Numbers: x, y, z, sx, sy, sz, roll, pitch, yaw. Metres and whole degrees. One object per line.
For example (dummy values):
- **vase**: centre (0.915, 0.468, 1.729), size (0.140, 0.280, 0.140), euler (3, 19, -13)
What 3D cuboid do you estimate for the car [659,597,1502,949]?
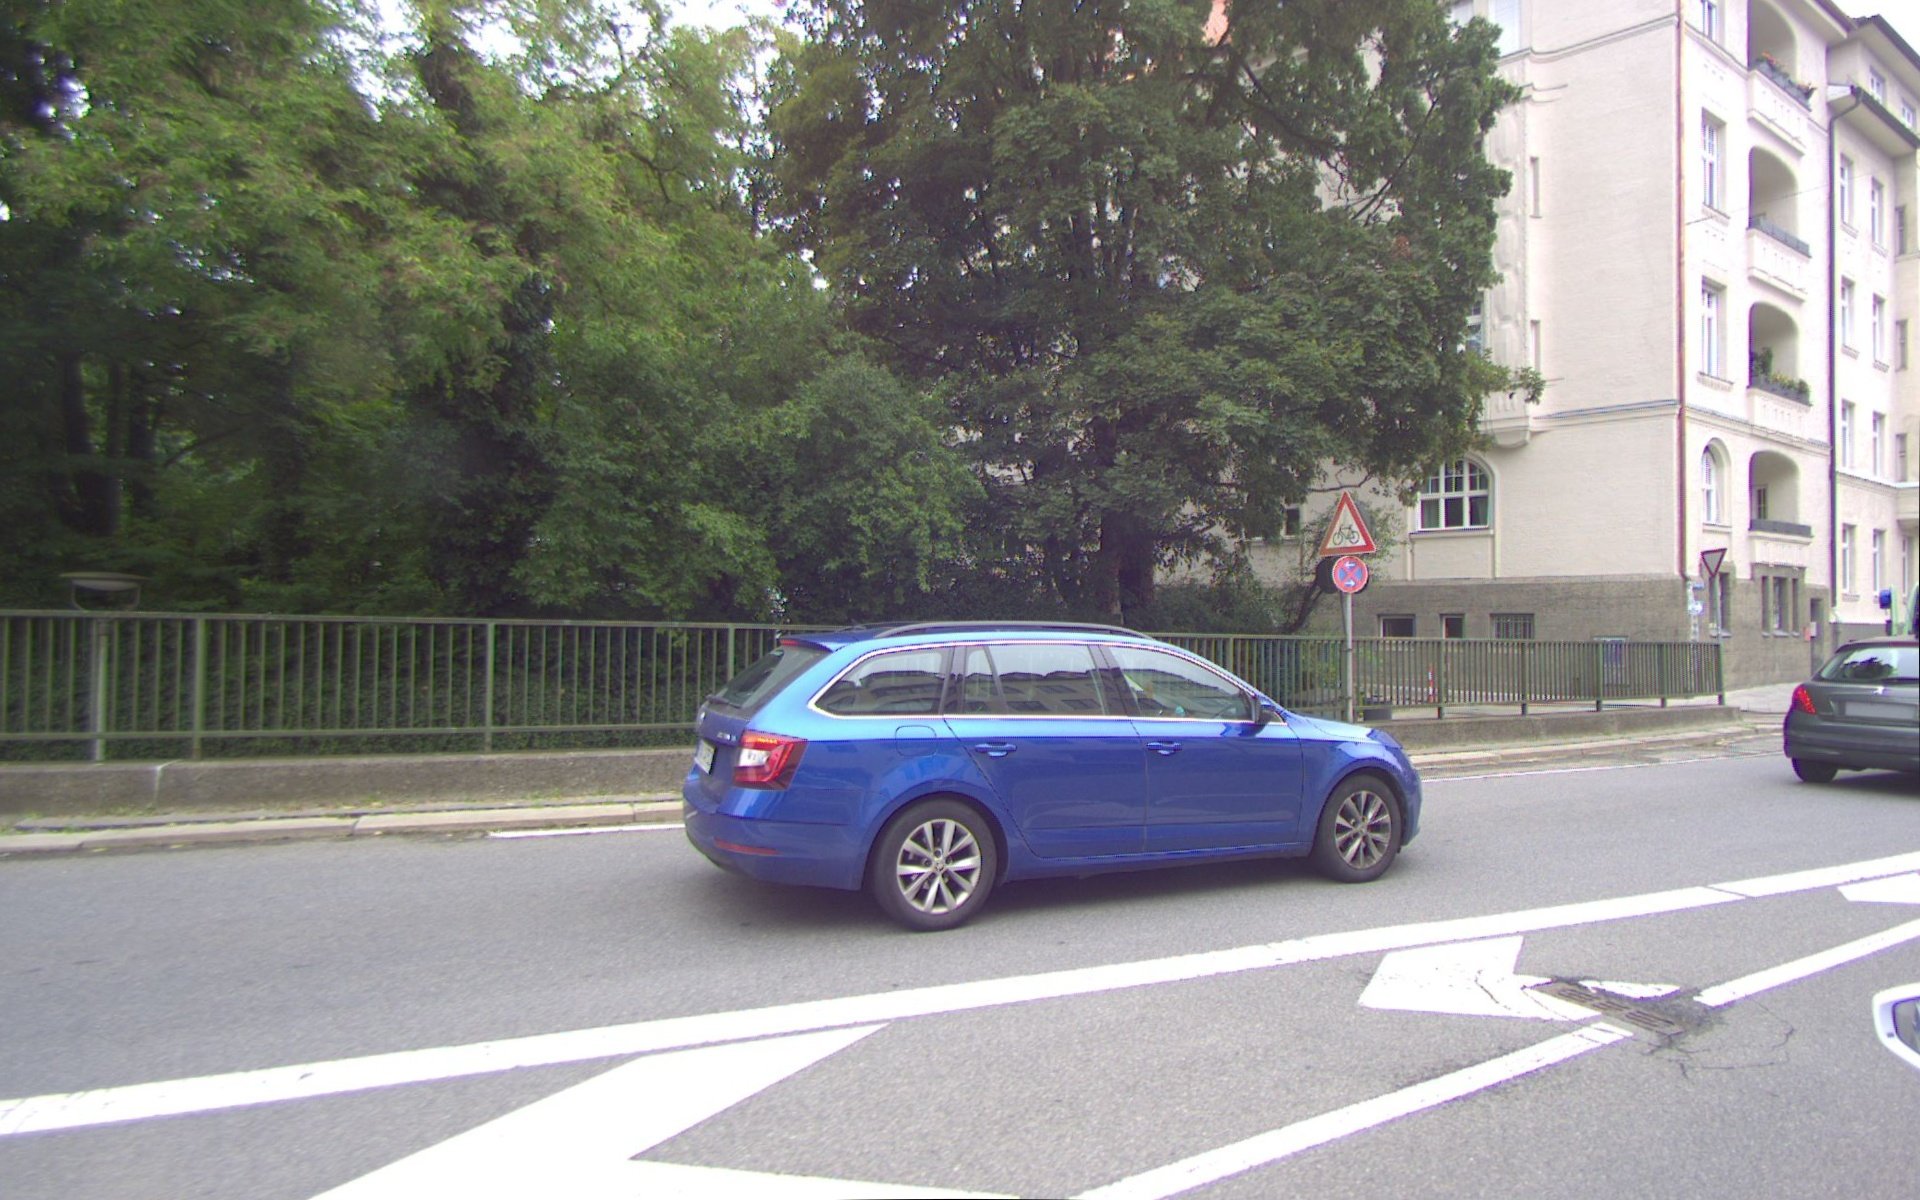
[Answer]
- **car**: centre (0.706, 0.786, 6.030), size (4.665, 1.473, 1.984), euler (1, -2, -22)

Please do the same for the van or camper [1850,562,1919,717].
- **van or camper**: centre (20.620, 0.735, 20.123), size (6.118, 2.878, 2.586), euler (0, -1, -33)

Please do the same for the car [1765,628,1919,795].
- **car**: centre (10.203, 1.031, 10.026), size (4.017, 1.480, 1.754), euler (1, -2, -24)
